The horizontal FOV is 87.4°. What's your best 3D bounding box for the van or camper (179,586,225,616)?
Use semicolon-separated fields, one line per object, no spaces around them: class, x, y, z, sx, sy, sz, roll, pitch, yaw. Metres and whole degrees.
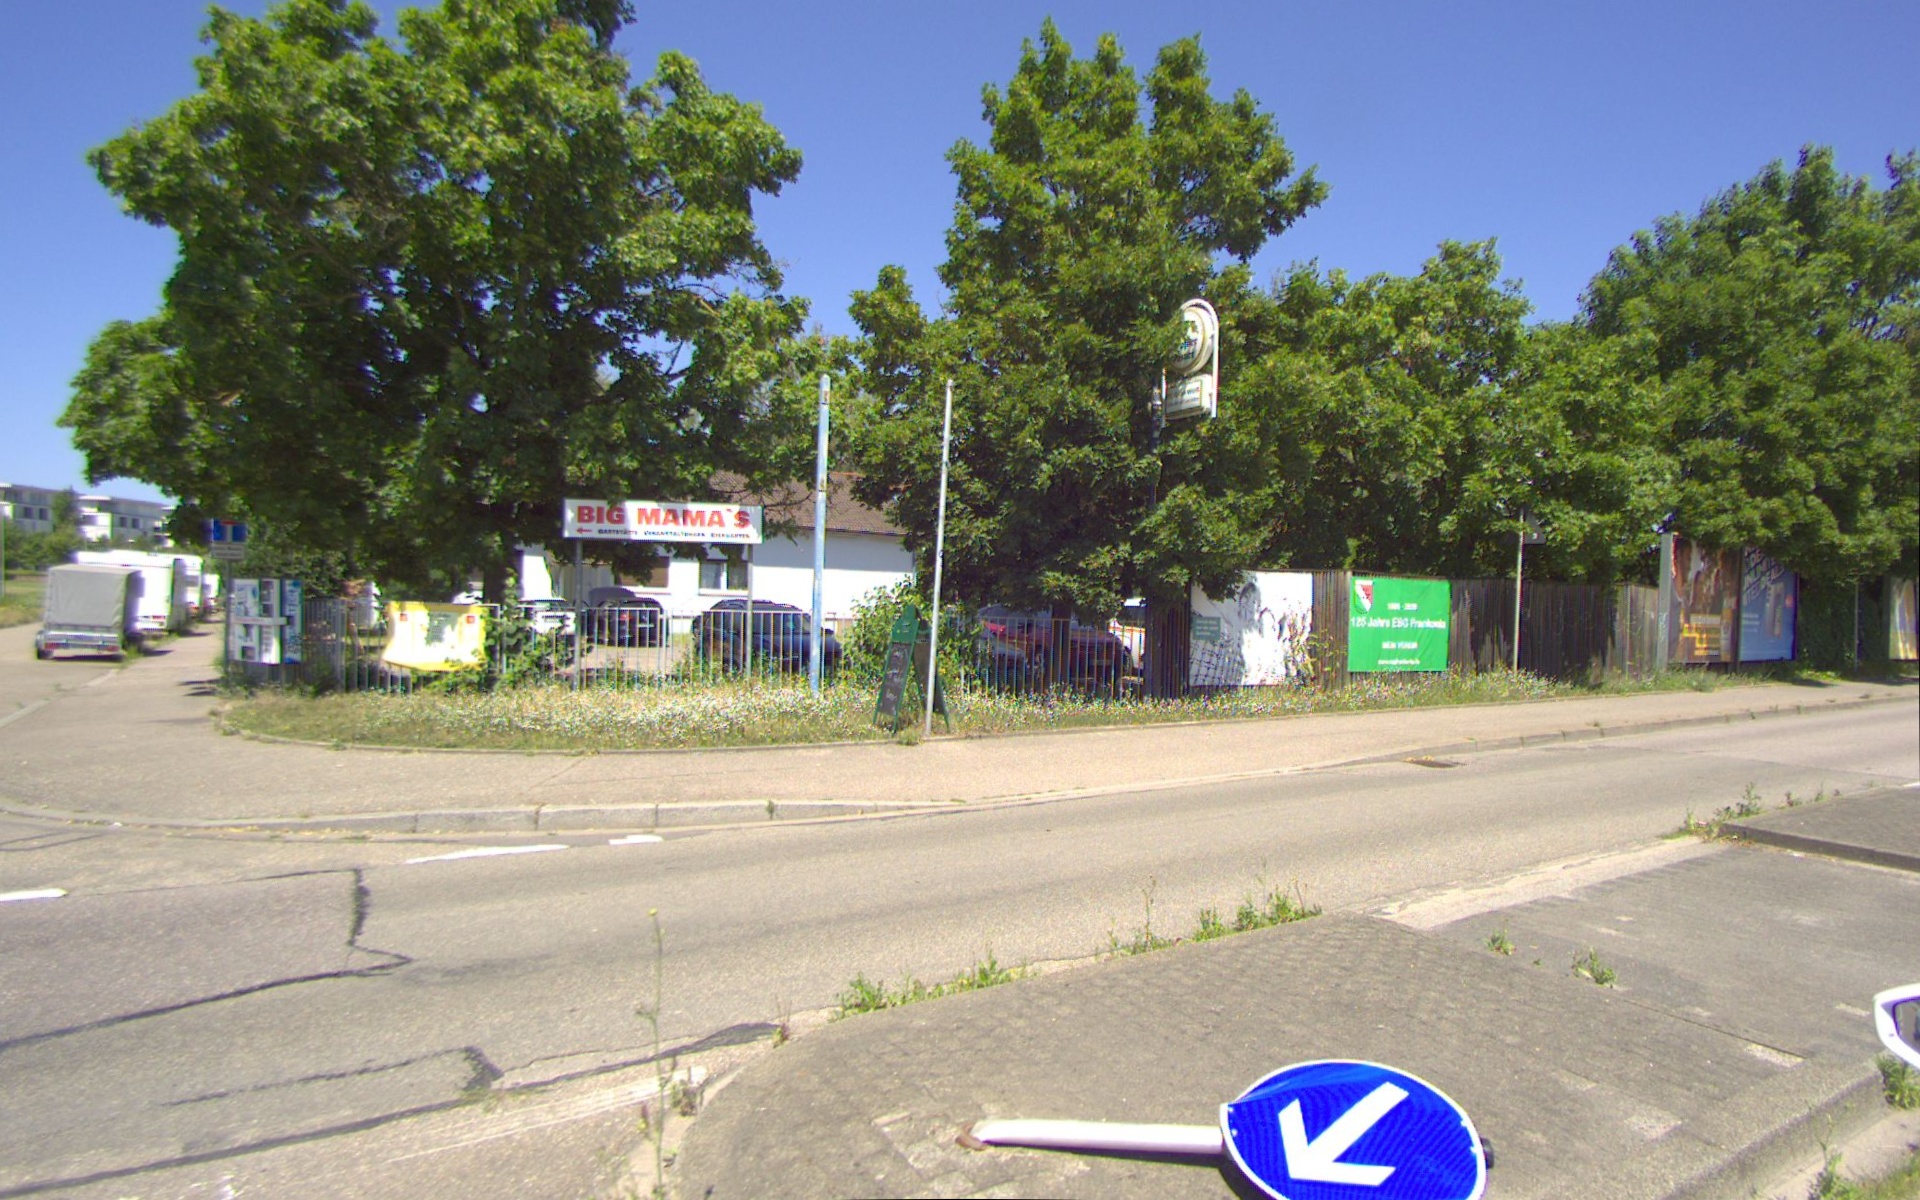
van or camper;-49.856;0.073;66.152;2.336;1.905;5.006;2;-1;-37

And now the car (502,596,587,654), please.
car;-12.203;0.710;29.389;1.753;1.598;3.316;2;-1;-32

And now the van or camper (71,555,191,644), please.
van or camper;-26.607;-0.062;32.422;2.466;2.626;4.424;1;2;-33

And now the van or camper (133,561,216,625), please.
van or camper;-34.744;-0.286;44.589;2.447;2.628;5.911;2;0;-34

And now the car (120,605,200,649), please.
car;-30.956;1.015;38.981;1.893;1.572;3.966;1;0;-31

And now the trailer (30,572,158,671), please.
trailer;-19.824;0.468;23.146;1.742;2.072;3.393;2;-1;-33

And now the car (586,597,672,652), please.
car;-10.159;0.719;30.718;1.753;1.586;3.316;1;0;-32

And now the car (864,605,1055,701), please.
car;-0.119;0.903;18.624;1.790;1.546;3.841;2;-1;-32

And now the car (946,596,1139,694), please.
car;1.627;0.883;21.802;1.974;1.865;4.806;1;-1;-26

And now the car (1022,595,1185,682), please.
car;3.530;0.896;25.478;1.763;2.003;4.282;1;-1;-32
